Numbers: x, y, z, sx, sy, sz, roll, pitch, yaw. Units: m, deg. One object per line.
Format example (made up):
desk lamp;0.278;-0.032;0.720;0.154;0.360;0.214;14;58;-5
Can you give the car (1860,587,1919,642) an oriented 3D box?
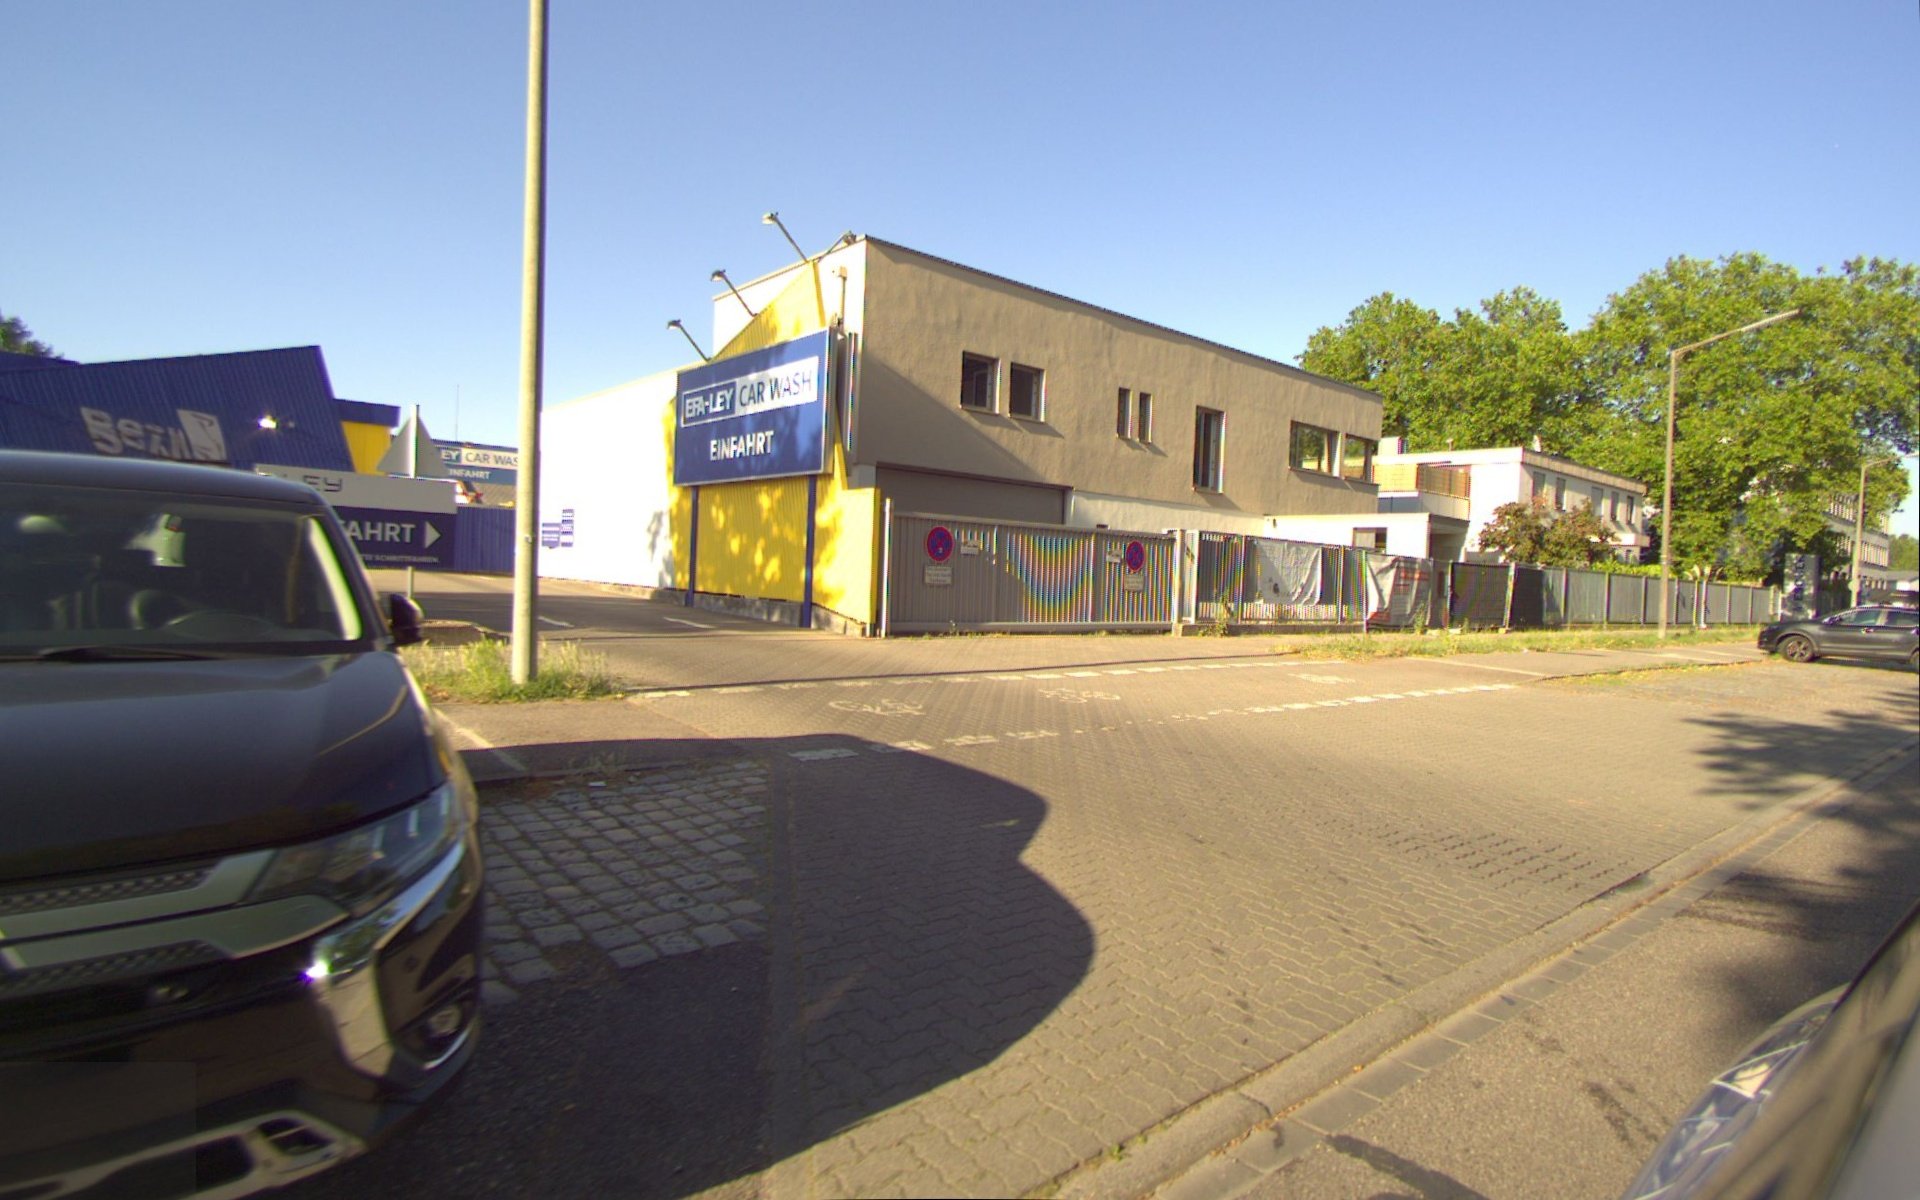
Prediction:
car;33.606;0.640;34.078;1.965;1.732;4.637;0;6;-41

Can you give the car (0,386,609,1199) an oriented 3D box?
car;-2.874;0.268;3.218;1.963;1.598;4.618;0;6;-37

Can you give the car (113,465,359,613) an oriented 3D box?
car;-9.057;-0.677;12.531;1.967;1.515;3.991;0;1;-43

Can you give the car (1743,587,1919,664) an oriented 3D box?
car;23.004;0.648;25.617;1.965;1.544;4.637;0;6;-41
